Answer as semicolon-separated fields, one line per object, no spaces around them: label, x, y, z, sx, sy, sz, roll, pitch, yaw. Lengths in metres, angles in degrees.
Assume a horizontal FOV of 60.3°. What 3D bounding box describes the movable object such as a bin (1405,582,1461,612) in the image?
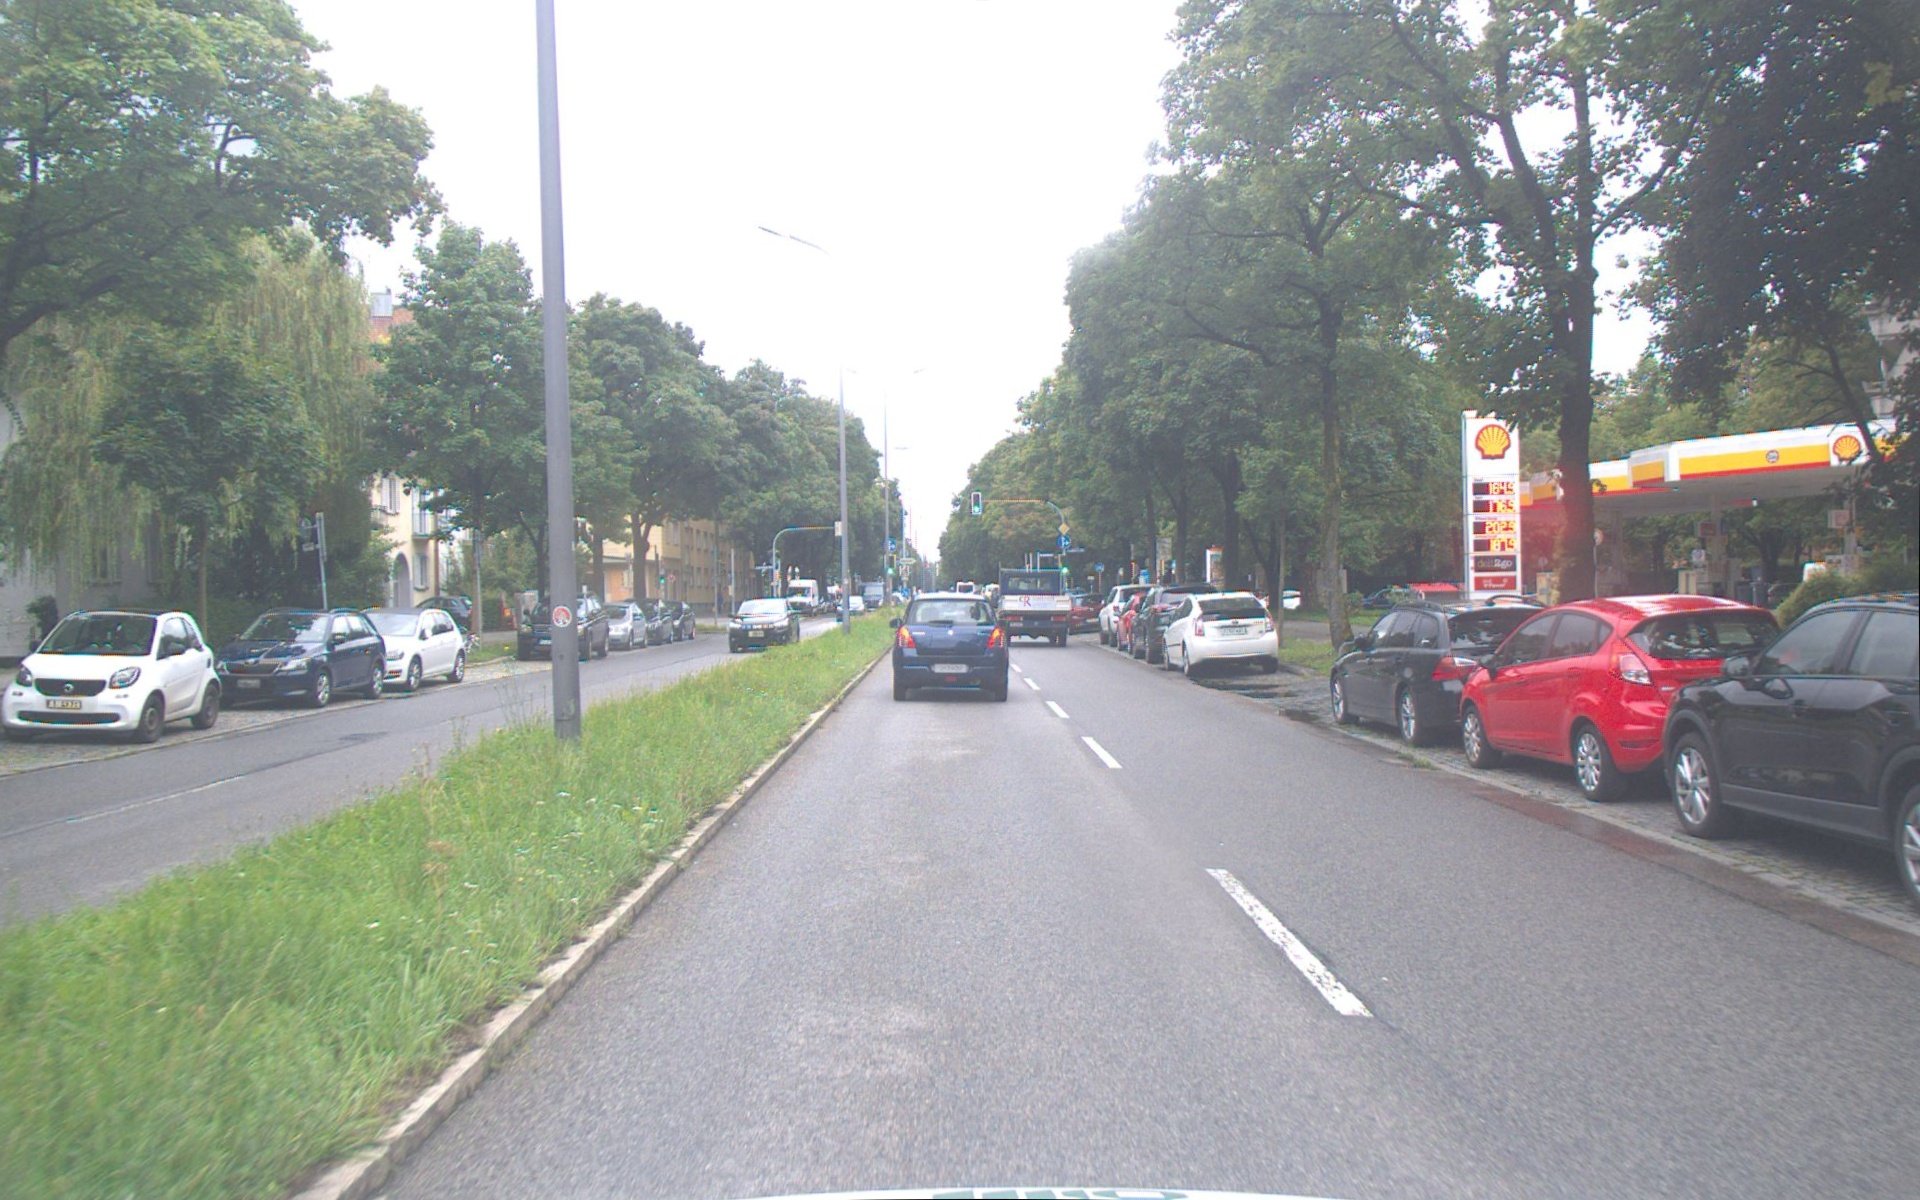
movable object such as a bin;21.062;-0.124;73.672;2.018;1.285;1.531;-1;0;-1

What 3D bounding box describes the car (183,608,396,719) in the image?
car;-10.463;0.932;26.137;1.640;1.501;4.215;2;0;-1

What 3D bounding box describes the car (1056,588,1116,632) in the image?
car;4.674;0.356;61.882;1.678;1.449;4.281;-5;1;-2

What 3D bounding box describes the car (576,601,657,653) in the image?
car;-10.690;0.802;51.749;1.632;1.470;4.374;2;0;-1

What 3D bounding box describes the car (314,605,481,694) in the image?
car;-10.487;0.877;31.161;1.640;1.468;4.320;2;0;0

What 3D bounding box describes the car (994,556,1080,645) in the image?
car;2.205;0.007;48.925;2.369;2.487;5.087;0;0;1

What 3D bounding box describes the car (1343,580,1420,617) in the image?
car;23.268;-0.081;91.421;3.799;1.638;1.934;-5;0;6

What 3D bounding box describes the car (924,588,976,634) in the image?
car;-0.352;0.366;59.089;1.762;1.525;3.660;-1;0;0

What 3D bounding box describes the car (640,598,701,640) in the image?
car;-10.879;0.682;62.329;1.532;1.475;3.838;2;0;1

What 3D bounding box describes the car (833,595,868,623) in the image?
car;-6.330;0.507;95.998;1.702;1.467;4.103;-2;0;0

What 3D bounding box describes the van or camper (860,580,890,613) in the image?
van or camper;-6.217;-0.296;121.312;1.982;2.300;6.020;-2;0;-2

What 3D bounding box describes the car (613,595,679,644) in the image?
car;-10.730;0.638;56.776;1.633;1.589;4.297;-1;0;-3

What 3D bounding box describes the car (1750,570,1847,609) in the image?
car;42.767;-0.543;84.442;3.946;1.638;1.770;-5;0;6

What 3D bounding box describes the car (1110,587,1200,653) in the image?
car;5.000;0.485;42.892;1.725;1.533;4.143;-3;0;-1

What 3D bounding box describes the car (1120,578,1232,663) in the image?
car;4.851;0.419;37.832;1.725;1.728;5.229;-3;0;-1

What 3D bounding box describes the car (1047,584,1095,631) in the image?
car;4.442;0.268;66.652;1.726;1.686;4.285;-5;1;3

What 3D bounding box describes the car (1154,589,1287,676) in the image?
car;4.990;0.569;32.271;1.725;1.479;4.632;-3;0;-1

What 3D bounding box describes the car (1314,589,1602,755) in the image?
car;5.227;0.669;18.027;1.641;1.479;4.581;-3;0;-1

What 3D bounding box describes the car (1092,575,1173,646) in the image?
car;4.957;0.265;47.941;1.725;1.862;4.527;-3;0;-1

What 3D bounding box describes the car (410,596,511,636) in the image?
car;-20.229;0.643;67.093;3.560;1.487;1.671;-1;0;-3

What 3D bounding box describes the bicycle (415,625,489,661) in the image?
bicycle;-12.788;1.075;41.702;1.422;0.843;1.404;1;0;-1

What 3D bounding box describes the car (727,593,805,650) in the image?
car;-5.452;0.584;46.843;1.703;1.465;4.215;-2;0;0

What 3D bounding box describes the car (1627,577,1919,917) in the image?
car;5.420;0.678;9.144;1.743;1.537;4.285;-3;0;1

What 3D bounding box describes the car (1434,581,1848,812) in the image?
car;5.354;0.661;13.605;1.641;1.527;4.021;-3;0;-1

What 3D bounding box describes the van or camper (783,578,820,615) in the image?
van or camper;-11.437;-0.259;119.663;2.096;2.519;6.258;-2;0;0

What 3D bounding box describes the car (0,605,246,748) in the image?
car;-10.444;0.898;20.800;1.657;1.593;3.078;2;0;-3

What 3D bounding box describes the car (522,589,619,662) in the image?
car;-10.520;0.649;44.964;1.761;1.794;5.053;2;0;-5

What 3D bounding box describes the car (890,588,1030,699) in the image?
car;-0.073;0.589;24.640;1.859;1.525;3.657;0;0;-4

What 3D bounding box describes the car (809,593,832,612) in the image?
car;-11.775;0.198;139.995;1.603;1.467;3.734;-2;0;0
